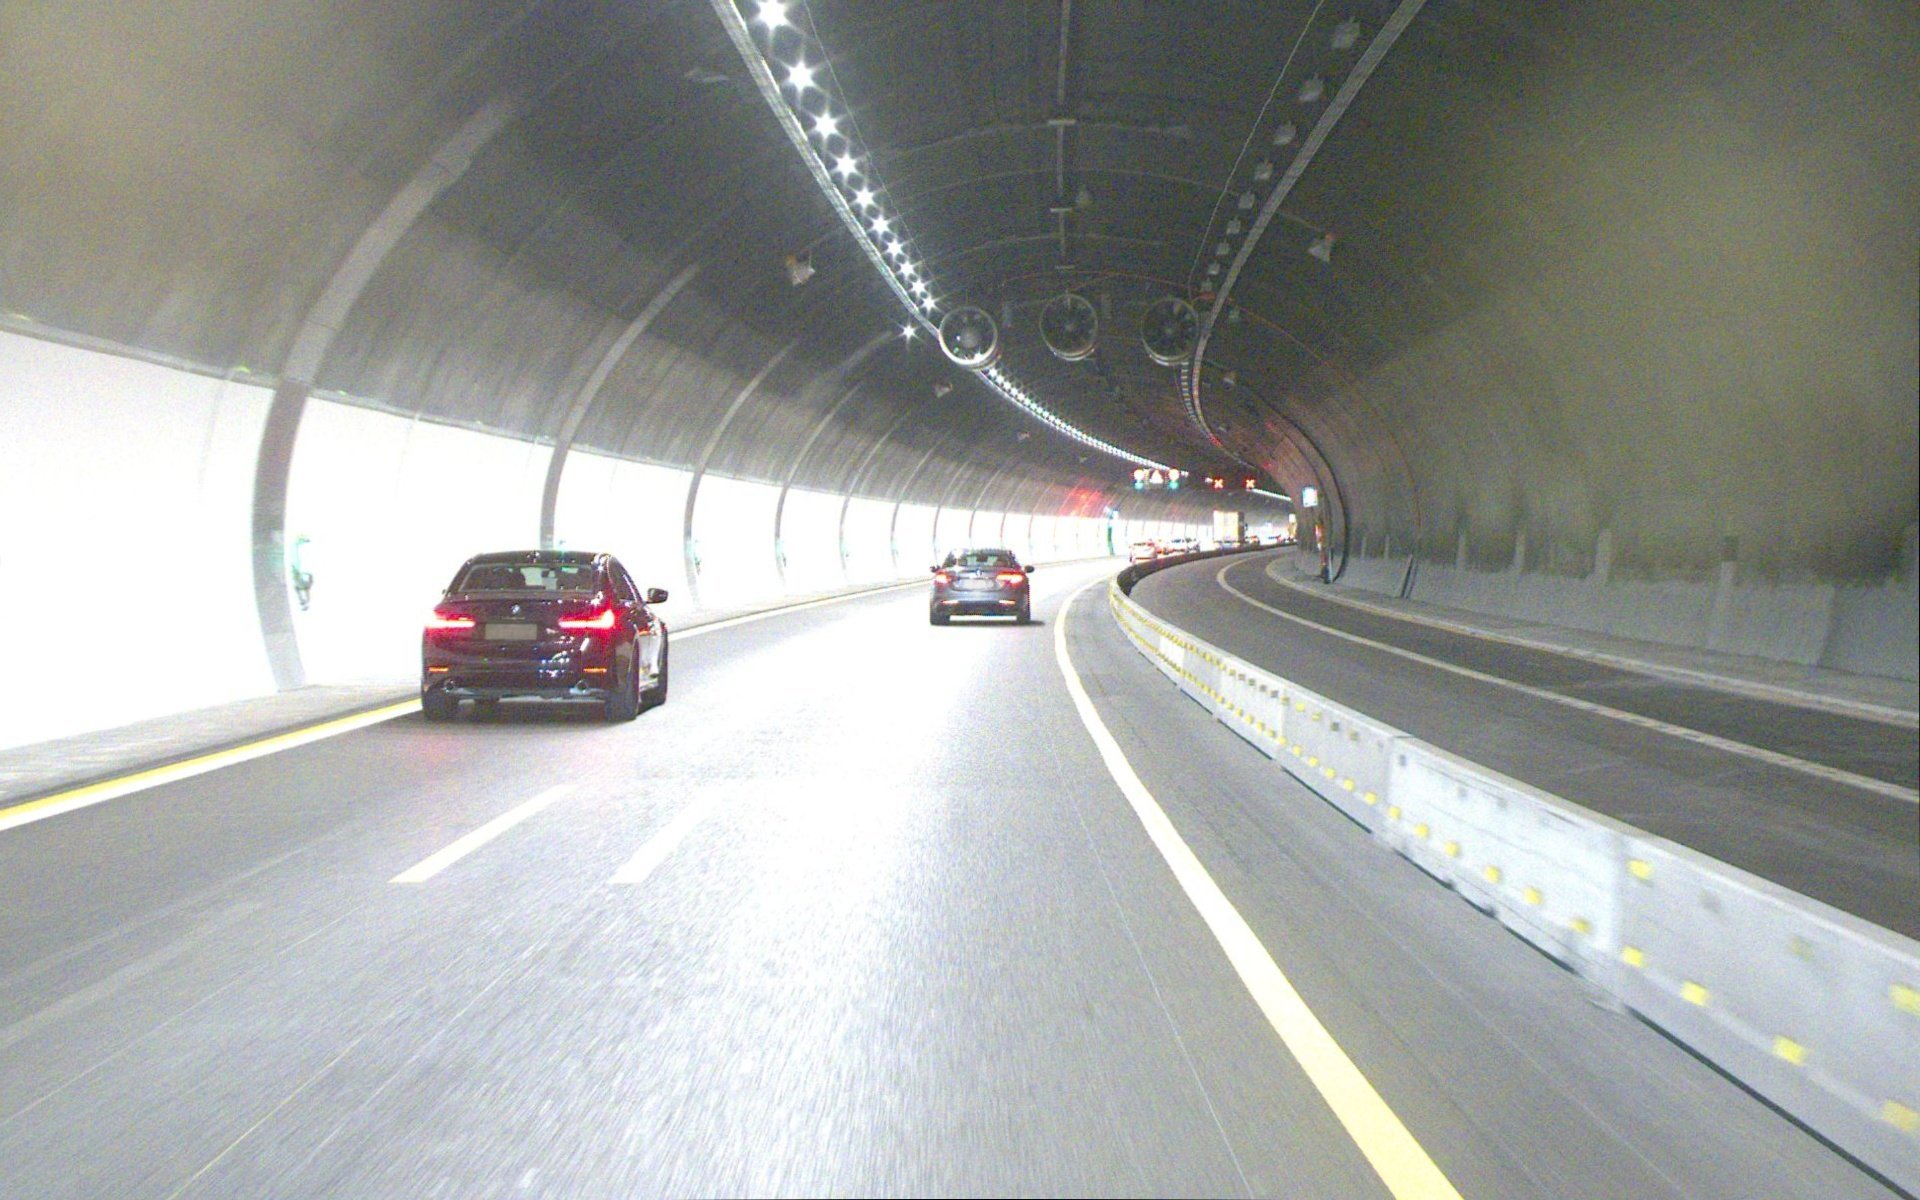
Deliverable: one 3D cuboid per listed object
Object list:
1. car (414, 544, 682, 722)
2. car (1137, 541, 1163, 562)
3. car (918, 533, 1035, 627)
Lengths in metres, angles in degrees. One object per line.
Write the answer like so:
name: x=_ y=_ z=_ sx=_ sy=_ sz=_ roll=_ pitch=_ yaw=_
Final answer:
car: x=-3.592 y=0.231 z=30.766 sx=1.778 sy=1.433 sz=4.883 roll=1 pitch=1 yaw=0
car: x=12.350 y=-3.166 z=223.191 sx=1.595 sy=1.328 sz=3.750 roll=1 pitch=1 yaw=4
car: x=0.344 y=-0.408 z=65.037 sx=2.141 sy=1.700 sz=4.000 roll=1 pitch=1 yaw=1
